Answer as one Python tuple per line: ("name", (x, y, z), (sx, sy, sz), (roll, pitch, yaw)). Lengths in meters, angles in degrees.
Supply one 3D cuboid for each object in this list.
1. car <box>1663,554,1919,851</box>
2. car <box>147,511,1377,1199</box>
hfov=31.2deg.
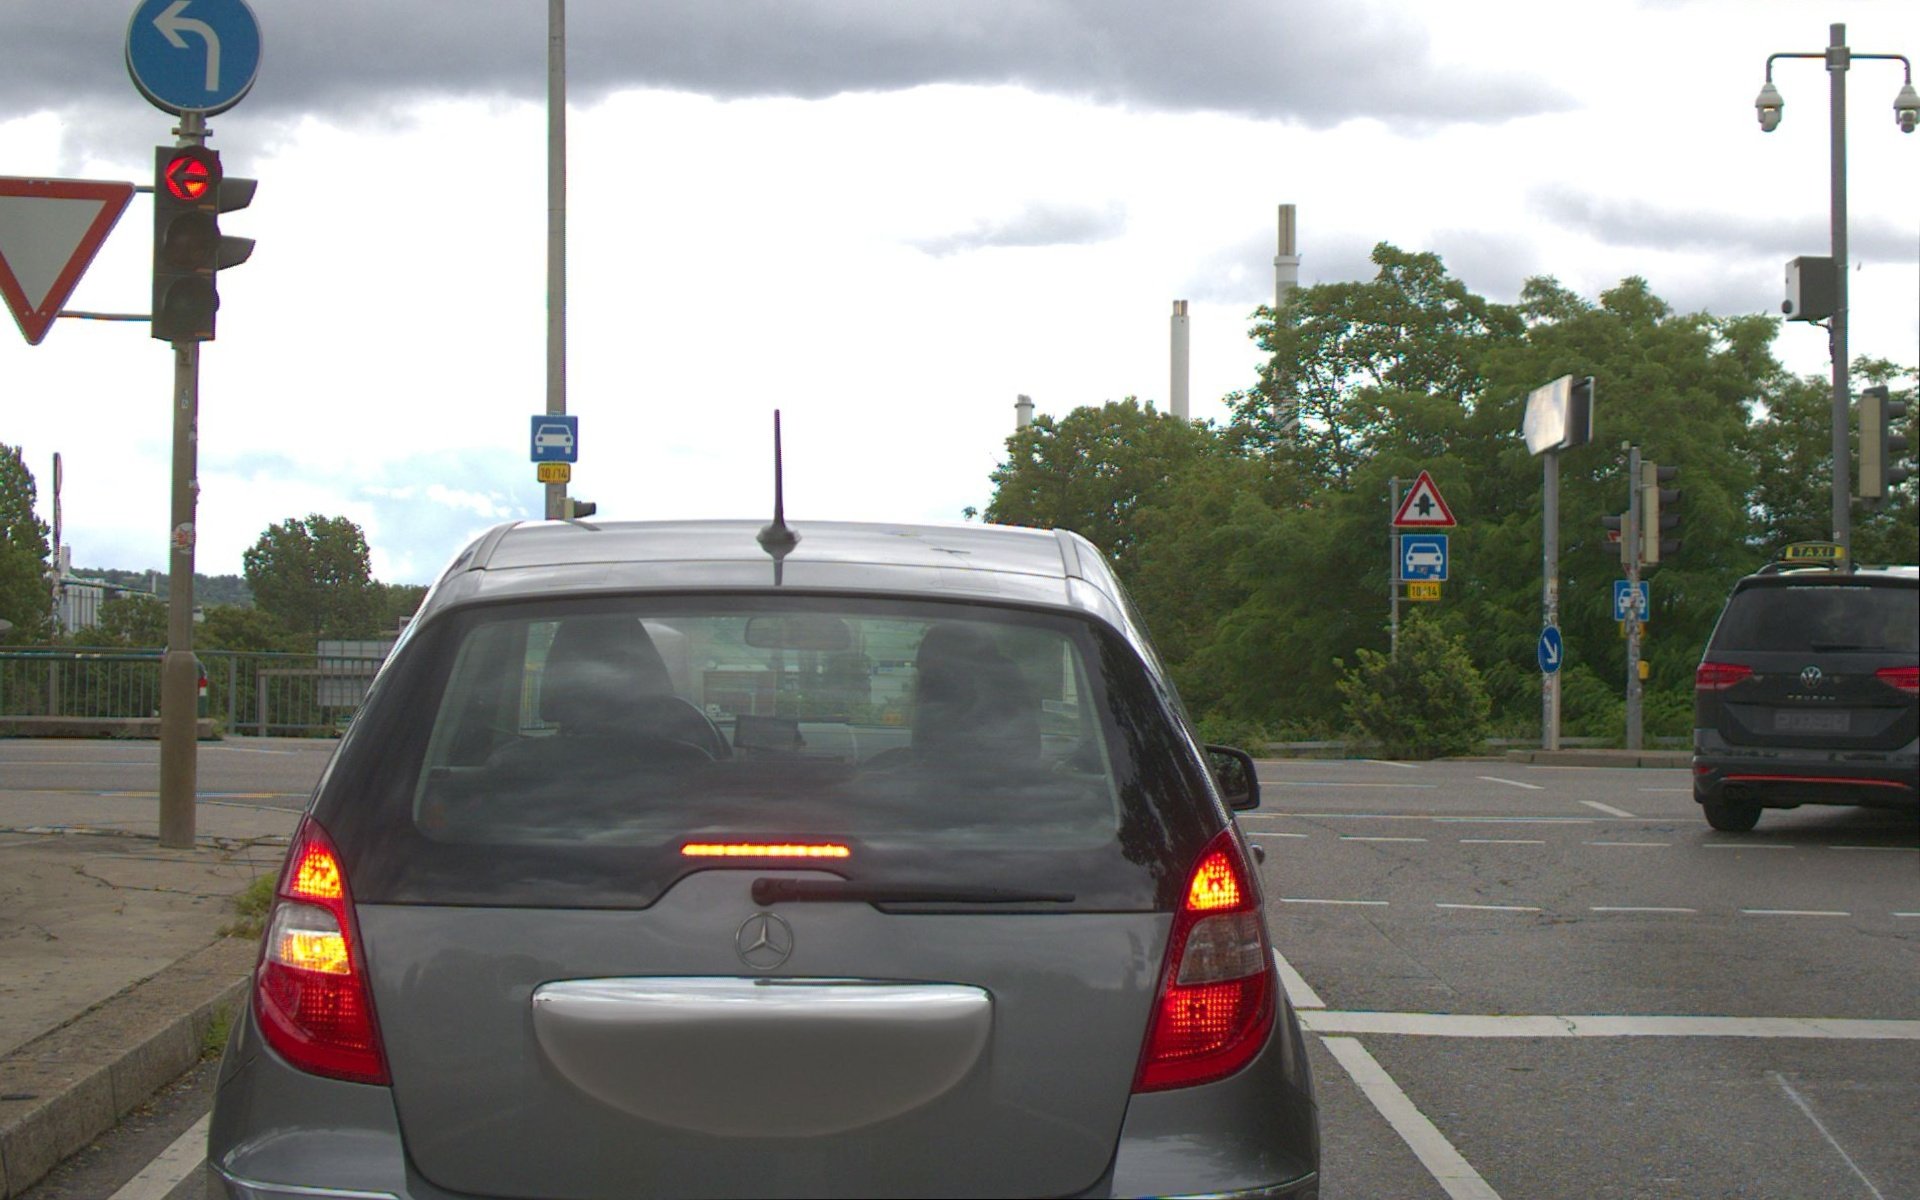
("car", (5.976, 0.568, 21.320), (1.799, 1.647, 4.143), (1, 1, 32))
("car", (-0.300, 0.637, 6.671), (1.739, 1.538, 3.541), (1, 1, 0))
